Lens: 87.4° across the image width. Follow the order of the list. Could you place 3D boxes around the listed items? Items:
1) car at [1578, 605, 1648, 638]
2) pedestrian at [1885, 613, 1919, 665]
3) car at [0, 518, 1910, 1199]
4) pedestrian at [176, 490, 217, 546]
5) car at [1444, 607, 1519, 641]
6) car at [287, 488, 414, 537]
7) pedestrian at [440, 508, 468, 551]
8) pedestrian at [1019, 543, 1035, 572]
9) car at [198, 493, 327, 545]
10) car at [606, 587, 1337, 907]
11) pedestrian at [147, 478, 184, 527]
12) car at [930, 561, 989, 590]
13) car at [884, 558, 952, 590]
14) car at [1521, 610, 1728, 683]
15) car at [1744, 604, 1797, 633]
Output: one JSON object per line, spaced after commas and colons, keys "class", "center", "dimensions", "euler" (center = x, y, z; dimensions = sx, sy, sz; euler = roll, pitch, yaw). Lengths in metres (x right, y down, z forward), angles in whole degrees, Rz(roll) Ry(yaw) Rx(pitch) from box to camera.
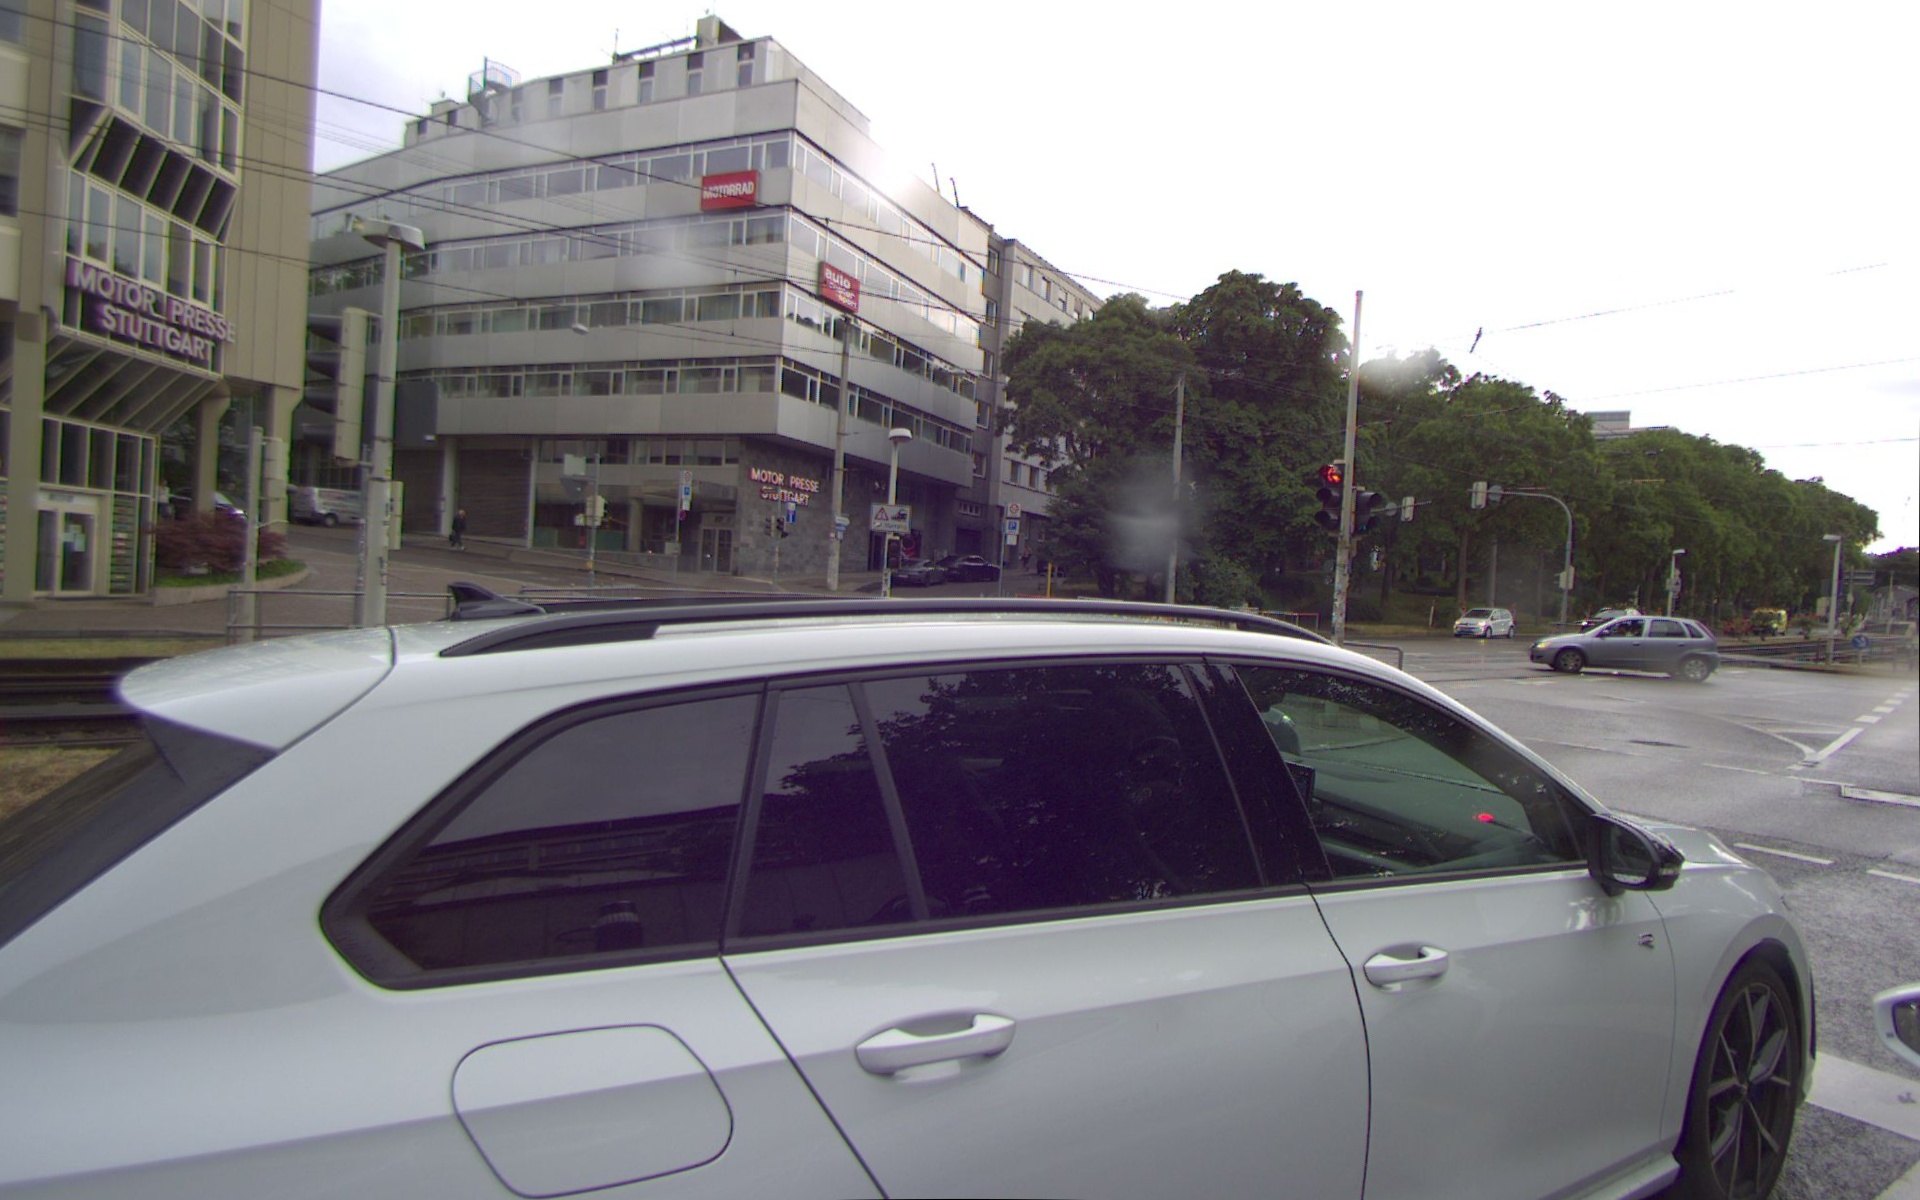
{"class": "car", "center": [34.143, 1.130, 52.522], "dimensions": [3.648, 1.566, 1.905], "euler": [2, 1, -37]}
{"class": "pedestrian", "center": [34.498, 1.421, 36.602], "dimensions": [0.863, 1.826, 0.860], "euler": [1, 2, -33]}
{"class": "car", "center": [0.302, 0.706, 2.470], "dimensions": [4.423, 1.461, 1.787], "euler": [2, 0, -30]}
{"class": "pedestrian", "center": [-26.029, -2.779, 34.243], "dimensions": [0.746, 1.811, 0.830], "euler": [5, 2, 25]}
{"class": "car", "center": [26.065, 1.213, 50.183], "dimensions": [3.648, 1.566, 1.905], "euler": [2, 1, -37]}
{"class": "car", "center": [-32.030, -4.539, 52.991], "dimensions": [1.964, 2.040, 5.403], "euler": [2, 0, 30]}
{"class": "pedestrian", "center": [-23.088, -3.197, 45.829], "dimensions": [0.833, 1.886, 0.719], "euler": [5, 2, 25]}
{"class": "pedestrian", "center": [4.425, -2.809, 66.269], "dimensions": [0.707, 1.886, 0.758], "euler": [5, 4, 31]}
{"class": "car", "center": [-28.351, -3.283, 40.806], "dimensions": [4.794, 1.601, 1.999], "euler": [7, 3, 23]}
{"class": "car", "center": [0.199, 0.723, 6.483], "dimensions": [4.423, 1.461, 1.787], "euler": [2, 0, -30]}
{"class": "pedestrian", "center": [-28.398, -3.467, 35.904], "dimensions": [0.746, 1.661, 0.719], "euler": [5, 2, 25]}
{"class": "car", "center": [0.032, -1.352, 55.581], "dimensions": [1.842, 1.450, 3.998], "euler": [3, 2, 22]}
{"class": "car", "center": [-2.058, -1.292, 50.607], "dimensions": [1.842, 1.450, 4.091], "euler": [3, 2, 22]}
{"class": "car", "center": [15.663, 1.064, 23.925], "dimensions": [3.797, 1.375, 1.632], "euler": [4, 2, 23]}
{"class": "car", "center": [58.553, 1.333, 72.530], "dimensions": [4.525, 1.875, 1.905], "euler": [2, 1, -38]}
